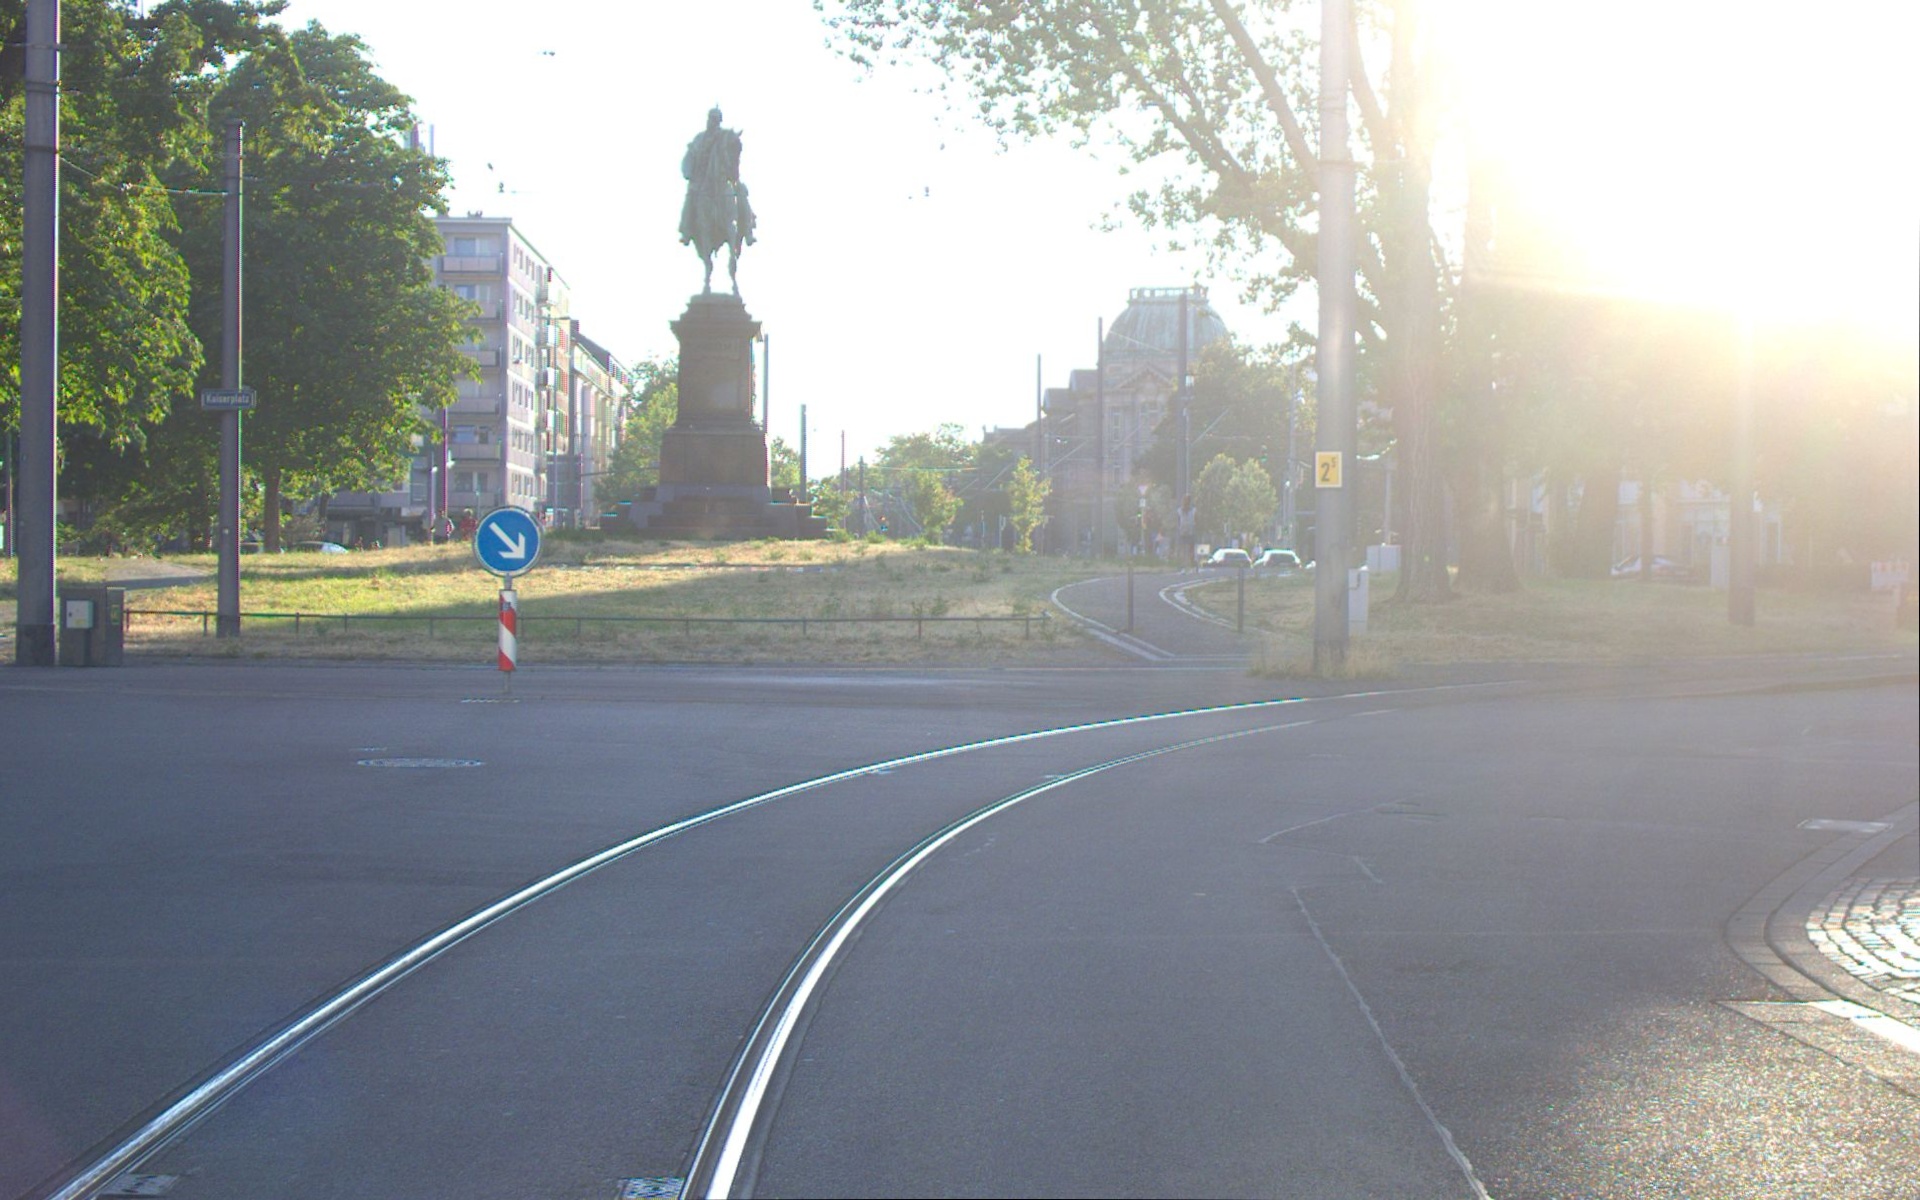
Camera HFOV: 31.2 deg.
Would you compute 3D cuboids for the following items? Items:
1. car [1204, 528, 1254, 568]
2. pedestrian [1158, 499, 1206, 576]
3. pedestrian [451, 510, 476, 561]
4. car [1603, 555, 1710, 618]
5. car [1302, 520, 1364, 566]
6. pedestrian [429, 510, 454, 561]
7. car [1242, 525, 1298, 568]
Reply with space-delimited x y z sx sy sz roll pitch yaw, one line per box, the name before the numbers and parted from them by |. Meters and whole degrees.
car | 14.025 -2.725 179.383 2.138 2.007 4.001 1 1 -2
pedestrian | 4.624 -1.310 71.633 0.769 1.600 0.638 -1 2 -45
pedestrian | -15.591 -2.027 107.886 0.769 1.600 0.638 0 1 -9
car | 22.811 -0.461 112.724 1.993 1.963 4.001 0 1 -12
car | 16.524 -2.541 152.464 2.138 2.007 4.001 1 1 -2
pedestrian | -16.329 -2.040 108.331 0.769 1.600 0.638 0 1 -9
car | 15.035 -2.614 166.892 2.138 2.007 4.001 1 1 -2
